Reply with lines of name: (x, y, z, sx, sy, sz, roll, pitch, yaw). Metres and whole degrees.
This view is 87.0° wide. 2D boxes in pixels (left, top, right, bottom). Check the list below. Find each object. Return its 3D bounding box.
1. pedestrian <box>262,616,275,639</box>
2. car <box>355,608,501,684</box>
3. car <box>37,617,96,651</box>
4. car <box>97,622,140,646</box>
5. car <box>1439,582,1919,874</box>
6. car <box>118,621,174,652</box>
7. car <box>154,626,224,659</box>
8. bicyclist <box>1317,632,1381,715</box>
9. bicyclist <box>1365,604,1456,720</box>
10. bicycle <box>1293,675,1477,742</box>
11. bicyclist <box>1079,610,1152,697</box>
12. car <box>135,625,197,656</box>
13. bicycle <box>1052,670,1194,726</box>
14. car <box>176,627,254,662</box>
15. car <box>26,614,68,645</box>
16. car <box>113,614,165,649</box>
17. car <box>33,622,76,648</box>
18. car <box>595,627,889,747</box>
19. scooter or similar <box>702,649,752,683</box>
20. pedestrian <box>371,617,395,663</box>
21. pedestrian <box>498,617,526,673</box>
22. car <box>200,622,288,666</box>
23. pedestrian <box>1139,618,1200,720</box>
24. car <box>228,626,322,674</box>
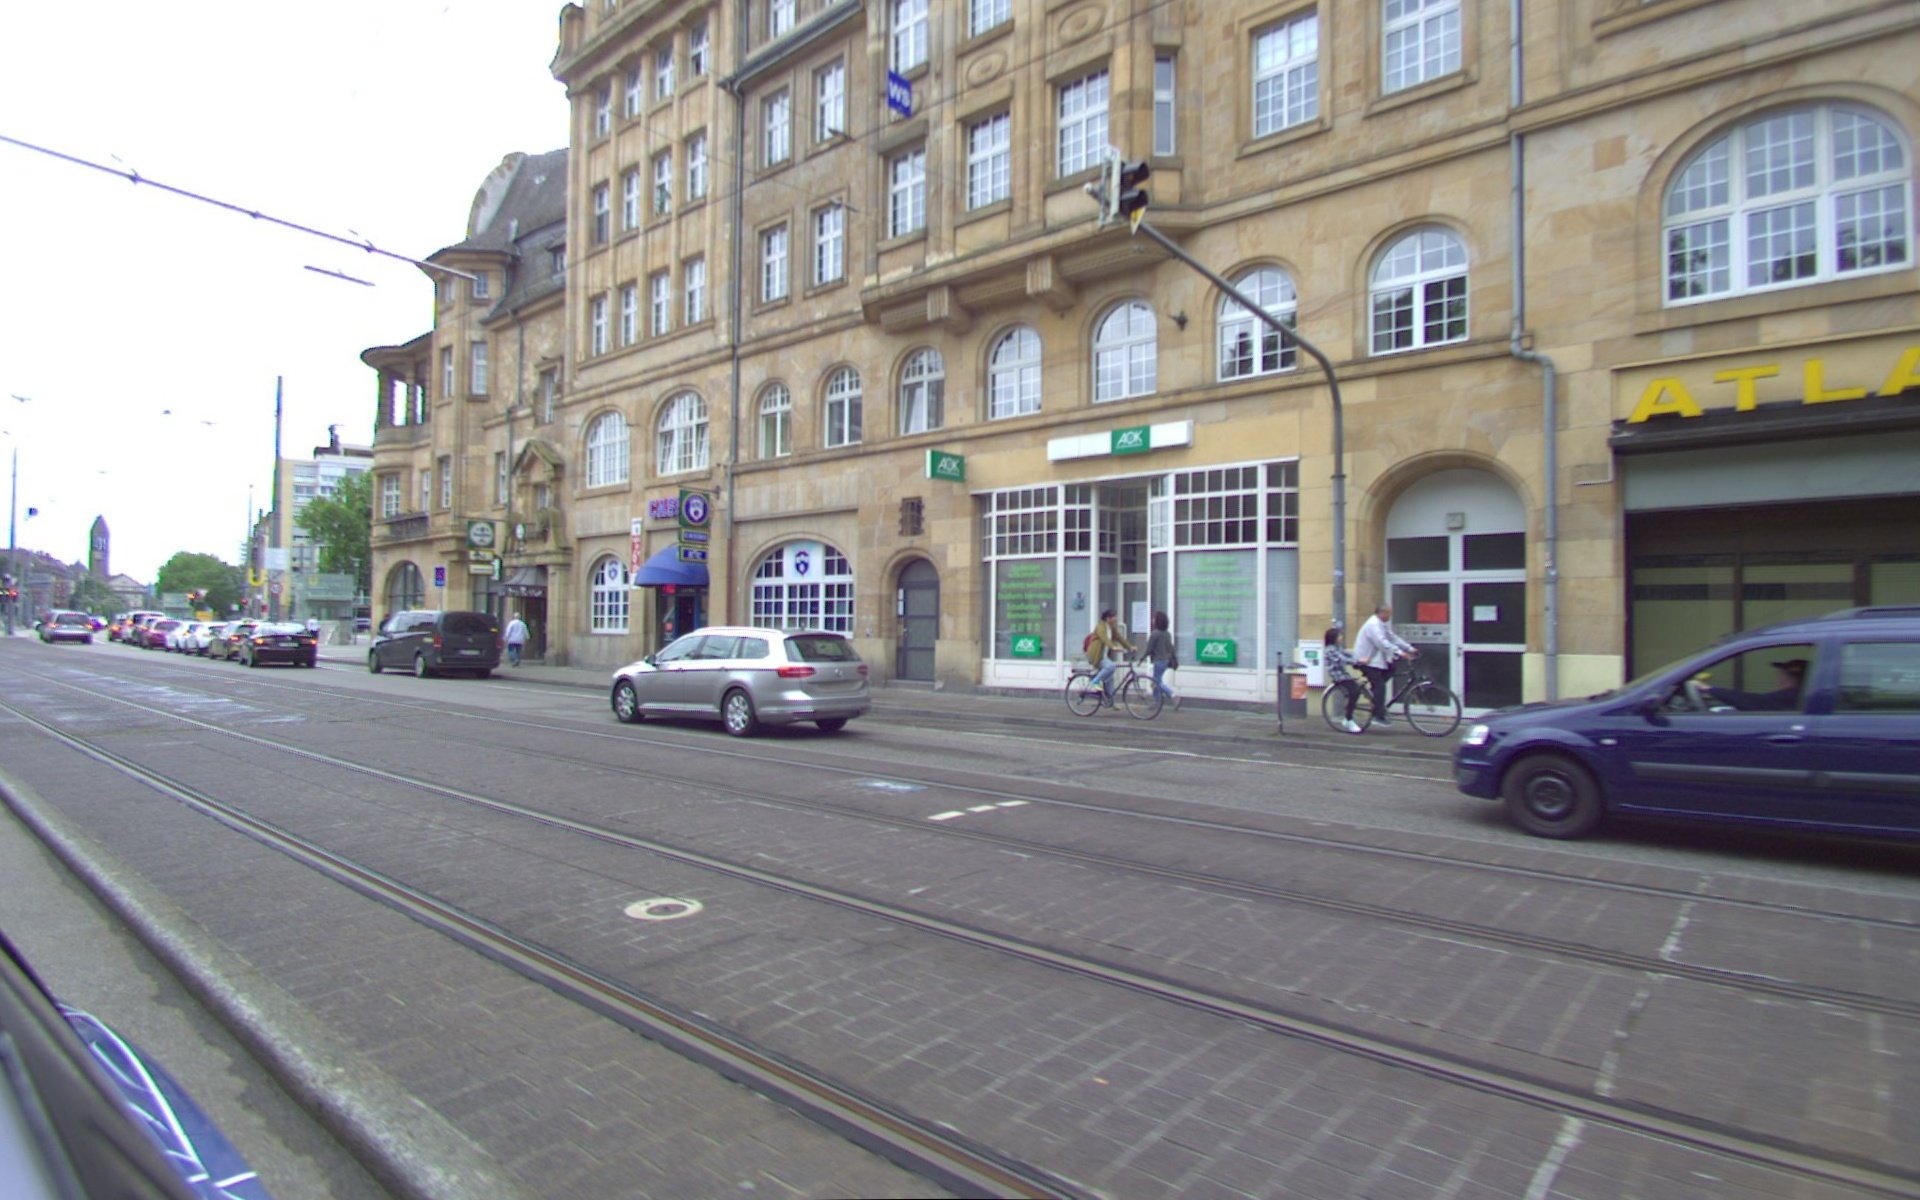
pedestrian: (-53.710, 2.161, 78.608, 0.592, 1.741, 0.915, 1, -2, -23)
car: (-15.293, 1.309, 28.984, 5.094, 1.992, 1.879, -1, -5, 41)
car: (-48.847, 1.850, 55.279, 4.908, 1.719, 1.843, -1, -4, 43)
car: (-51.921, 2.066, 62.437, 1.669, 1.453, 4.002, 2, -2, -45)
car: (5.893, 0.767, 6.713, 4.612, 1.684, 1.740, -1, -2, 42)
car: (-43.090, 1.923, 53.516, 1.841, 1.546, 4.305, 5, -4, -44)
car: (-35.159, 1.925, 46.101, 4.361, 1.390, 1.728, -1, -5, 42)
bicyclist: (5.418, 1.005, 14.106, 0.659, 1.126, 0.604, -1, -2, 41)
bicyclist: (6.035, 0.812, 13.572, 0.971, 1.499, 0.604, -1, -2, 41)
bicycle: (5.736, 1.447, 13.776, 2.249, 0.751, 0.575, -1, -2, 41)
bicyclist: (2.455, 0.833, 16.024, 0.971, 1.334, 0.604, -1, -2, 41)
car: (-38.991, 1.974, 49.663, 3.897, 1.410, 1.842, -1, -5, 45)
bicycle: (2.529, 1.520, 15.945, 2.249, 0.751, 0.575, -1, -2, 41)
car: (-30.886, 1.804, 41.895, 4.259, 1.390, 1.905, -1, -2, 44)
car: (-57.500, 1.855, 63.716, 1.669, 1.915, 4.389, 2, -3, -45)
car: (-47.408, 1.832, 58.393, 1.841, 1.931, 5.104, 2, -3, -44)
car: (-53.414, 2.041, 59.663, 1.669, 1.453, 4.002, 2, -2, -45)
car: (-3.253, 1.124, 14.553, 4.612, 1.460, 1.740, -1, -2, 42)
scooter or similar: (-5.885, 1.645, 25.537, 1.345, 0.809, 0.575, -1, -2, 41)
pedestrian: (-21.842, 1.504, 38.299, 0.764, 1.741, 0.490, -1, -2, 38)
pedestrian: (-13.945, 1.398, 31.505, 0.523, 1.741, 0.592, -1, -2, 38)
car: (-26.536, 1.636, 37.449, 4.430, 1.522, 1.877, -2, -4, 45)
pedestrian: (3.444, 1.110, 16.643, 0.741, 1.625, 0.678, -1, -2, 41)
car: (-22.318, 1.612, 32.905, 1.805, 1.444, 4.672, 5, -5, -42)
